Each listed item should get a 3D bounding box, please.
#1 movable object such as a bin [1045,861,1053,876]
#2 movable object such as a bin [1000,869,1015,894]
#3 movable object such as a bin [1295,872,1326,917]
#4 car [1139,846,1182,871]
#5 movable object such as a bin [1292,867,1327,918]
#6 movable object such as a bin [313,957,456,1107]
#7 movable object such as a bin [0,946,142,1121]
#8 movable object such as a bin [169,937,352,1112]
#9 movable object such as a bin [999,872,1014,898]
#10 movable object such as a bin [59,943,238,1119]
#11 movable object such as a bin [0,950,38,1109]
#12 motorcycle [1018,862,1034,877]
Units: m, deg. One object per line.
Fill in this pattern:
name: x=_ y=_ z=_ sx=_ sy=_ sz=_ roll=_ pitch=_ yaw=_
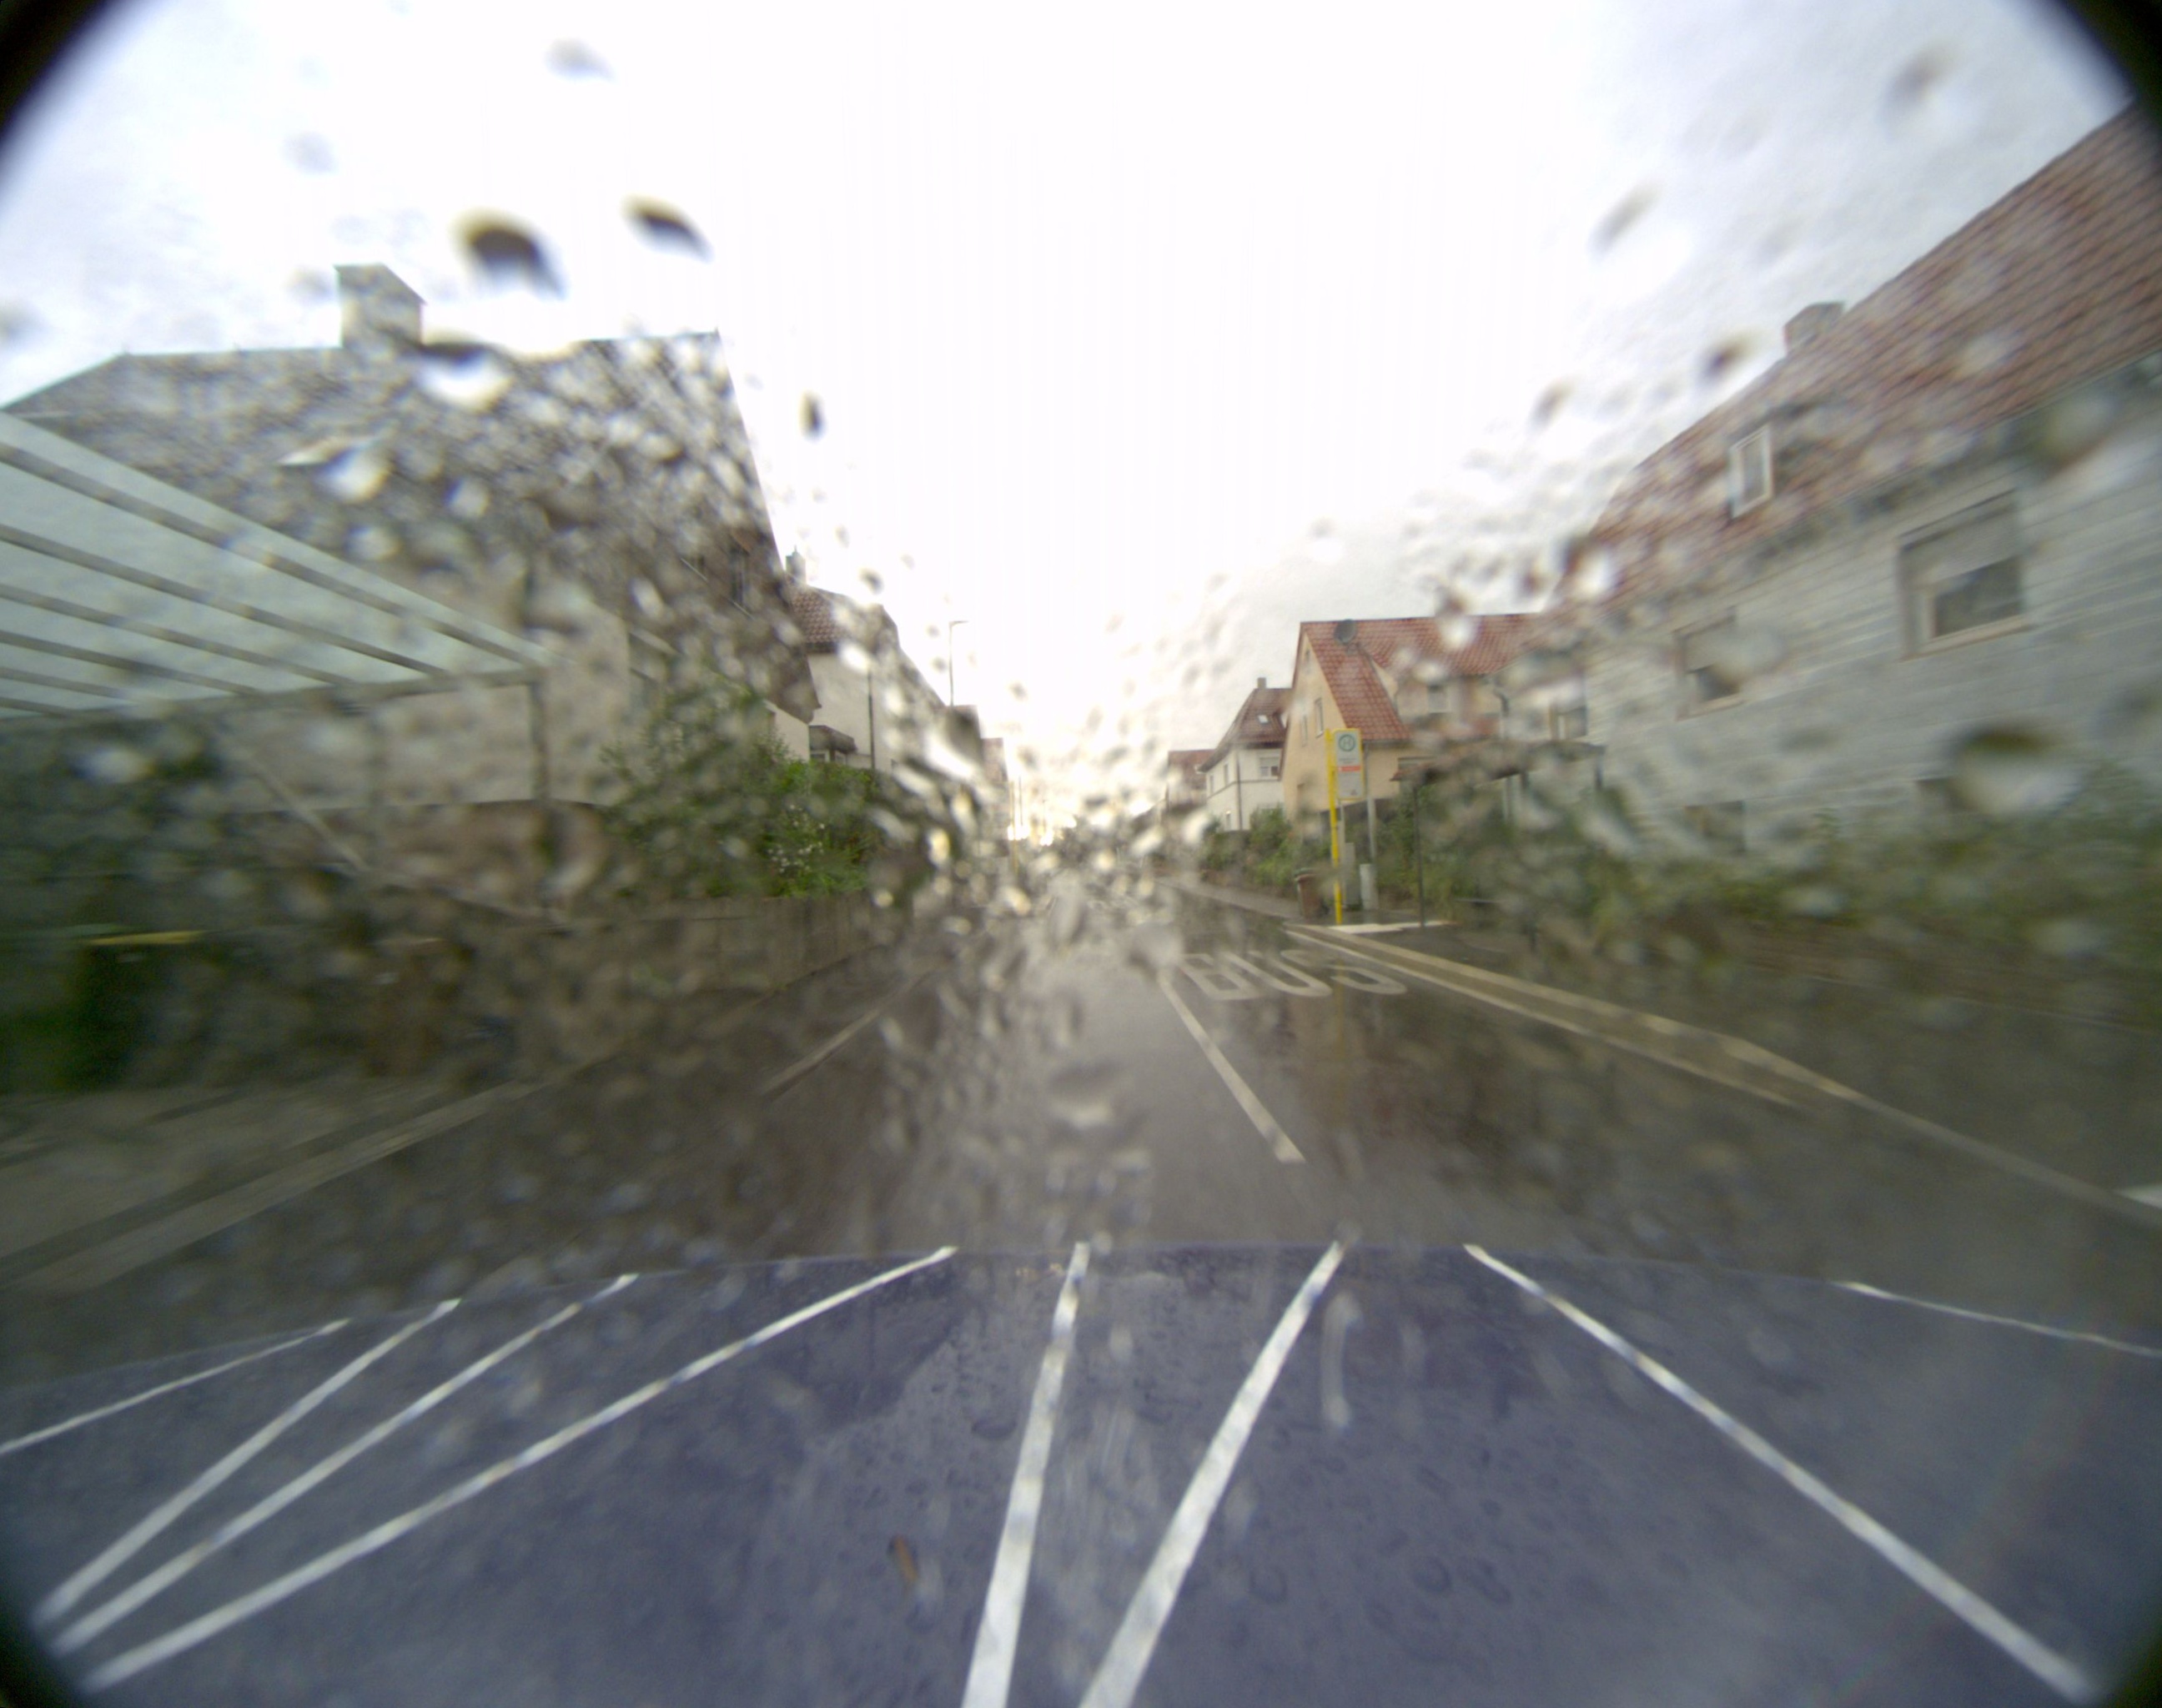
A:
movable object such as a bin: x=-2.603 y=1.168 z=61.638 sx=0.569 sy=1.179 sz=0.537 roll=-1 pitch=0 yaw=-2
movable object such as a bin: x=-3.285 y=1.241 z=33.939 sx=0.569 sy=1.070 sz=0.537 roll=-2 pitch=0 yaw=-2
movable object such as a bin: x=5.032 y=0.887 z=16.681 sx=0.469 sy=0.933 sz=0.455 roll=-6 pitch=-2 yaw=2
car: x=8.461 y=0.507 z=80.922 sx=3.999 sy=1.963 sz=1.873 roll=10 pitch=0 yaw=-3
movable object such as a bin: x=5.187 y=0.862 z=17.274 sx=0.554 sy=1.076 sz=0.527 roll=-6 pitch=0 yaw=2
movable object such as a bin: x=-4.741 y=1.196 z=5.197 sx=0.494 sy=0.899 sz=0.476 roll=-2 pitch=0 yaw=1
movable object such as a bin: x=-6.926 y=1.186 z=5.113 sx=0.544 sy=1.055 sz=0.495 roll=-2 pitch=0 yaw=1
movable object such as a bin: x=-5.540 y=1.130 z=5.158 sx=0.620 sy=1.055 sz=0.526 roll=-2 pitch=0 yaw=1
movable object such as a bin: x=-3.218 y=1.332 z=33.012 sx=0.569 sy=1.070 sz=0.523 roll=-2 pitch=0 yaw=-2
movable object such as a bin: x=-6.229 y=1.161 z=5.100 sx=0.544 sy=1.055 sz=0.495 roll=-2 pitch=0 yaw=1
movable object such as a bin: x=-7.663 y=1.213 z=5.083 sx=0.633 sy=1.055 sz=0.495 roll=-2 pitch=0 yaw=1
motorcycle: x=-4.031 y=1.131 z=55.781 sx=0.557 sy=1.007 sz=1.147 roll=-2 pitch=1 yaw=-39
